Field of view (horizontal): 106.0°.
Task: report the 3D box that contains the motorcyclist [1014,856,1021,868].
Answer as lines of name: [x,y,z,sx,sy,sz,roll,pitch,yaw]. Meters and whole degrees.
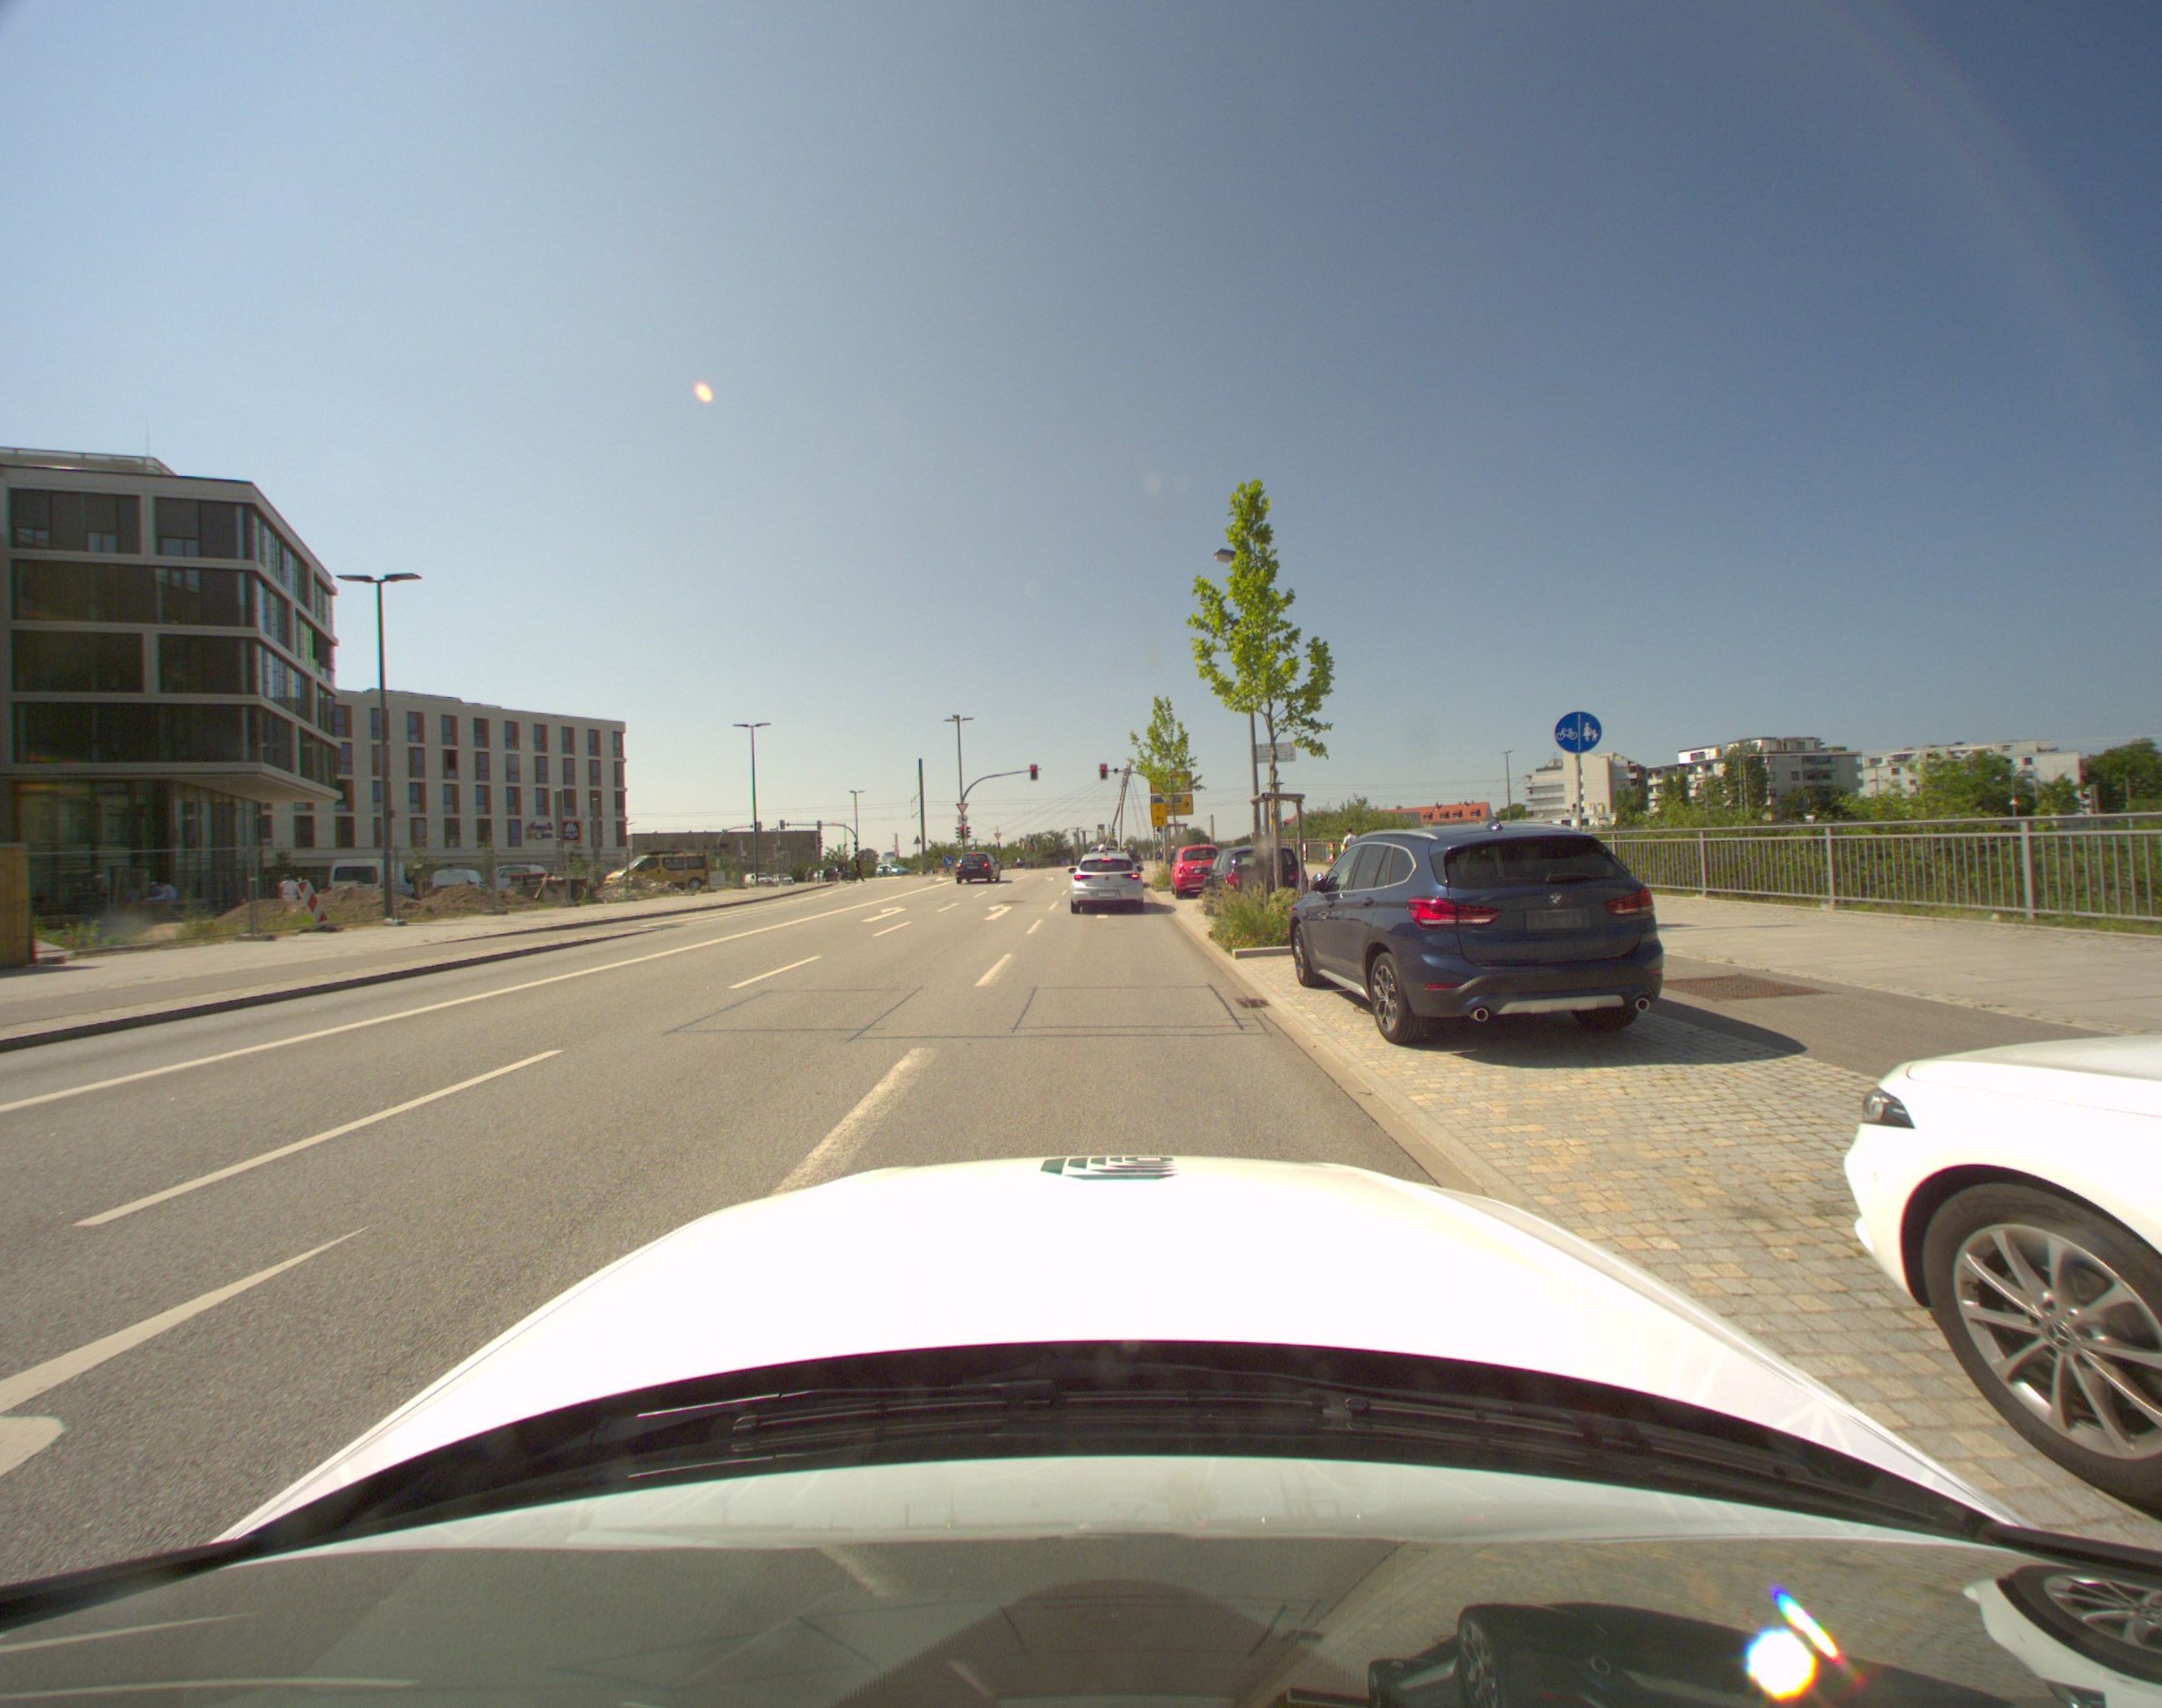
motorcyclist: [-7.725,1.008,98.782,0.806,1.476,0.885,0,-1,2]

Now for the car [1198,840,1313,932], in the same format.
car: [3.438,0.559,16.630,1.575,1.555,3.548,-4,0,2]

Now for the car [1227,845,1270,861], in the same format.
car: [18.908,-0.123,91.896,4.253,1.673,1.990,-1,0,-15]

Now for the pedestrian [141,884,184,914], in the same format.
pedestrian: [-42.659,2.074,37.829,0.737,1.372,1.121,-1,-1,15]

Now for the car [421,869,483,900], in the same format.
car: [-32.883,1.556,42.680,1.809,1.508,3.965,0,-1,-26]

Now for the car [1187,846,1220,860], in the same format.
car: [14.101,-0.111,93.927,3.388,1.655,1.638,0,-1,-17]

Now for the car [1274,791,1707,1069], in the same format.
car: [3.148,0.507,7.400,1.797,1.683,4.272,-4,-1,2]

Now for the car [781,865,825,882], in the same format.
car: [-28.885,2.033,84.558,3.946,1.551,1.682,-3,-1,14]

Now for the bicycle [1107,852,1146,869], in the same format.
bicycle: [2.986,0.417,53.206,2.494,1.007,0.606,-1,0,2]

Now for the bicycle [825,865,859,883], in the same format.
bicycle: [-15.992,1.307,54.491,2.076,1.178,0.555,0,-1,-3]

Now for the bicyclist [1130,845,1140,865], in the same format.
bicyclist: [4.274,0.080,64.326,0.715,1.504,0.825,-1,-1,2]

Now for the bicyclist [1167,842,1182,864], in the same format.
bicyclist: [6.732,-0.070,58.687,0.813,1.569,0.953,-1,-1,23]

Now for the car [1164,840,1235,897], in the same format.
car: [3.566,0.430,25.122,1.663,1.540,3.918,-4,-1,2]

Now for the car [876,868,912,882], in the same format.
car: [-19.338,2.198,84.168,3.753,1.362,1.542,-2,1,39]

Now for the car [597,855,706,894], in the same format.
car: [-21.956,1.012,41.743,1.974,1.890,4.514,-1,-1,40]

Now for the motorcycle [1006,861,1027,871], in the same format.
motorcycle: [-7.846,1.479,98.791,2.527,1.233,0.648,0,-1,1]

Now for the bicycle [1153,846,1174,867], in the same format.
bicycle: [5.637,0.162,55.693,0.720,1.133,2.546,-5,2,20]

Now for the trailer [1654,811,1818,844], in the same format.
trailer: [69.166,-2.717,85.966,17.222,3.204,3.724,0,-1,-14]

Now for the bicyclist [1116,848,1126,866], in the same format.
bicyclist: [2.698,0.215,54.332,0.654,1.175,0.731,0,-1,3]

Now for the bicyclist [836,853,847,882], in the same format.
bicyclist: [-16.026,0.890,54.481,0.592,1.887,0.636,0,-1,-2]

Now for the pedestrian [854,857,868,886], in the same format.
pedestrian: [-14.308,1.152,52.938,0.739,1.863,0.752,0,-1,-5]

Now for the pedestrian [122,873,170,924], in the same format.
pedestrian: [-38.375,1.808,33.442,0.933,2.014,0.969,-1,-1,15]

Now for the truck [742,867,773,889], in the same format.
truck: [-39.906,2.948,100.424,2.011,2.540,4.651,-1,0,-44]

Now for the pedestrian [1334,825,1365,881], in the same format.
pedestrian: [8.863,-0.031,26.933,0.755,1.830,0.885,0,-1,2]

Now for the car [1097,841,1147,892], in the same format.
car: [1.418,0.433,28.933,1.629,1.674,3.746,0,-1,2]

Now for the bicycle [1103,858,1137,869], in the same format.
bicycle: [2.622,0.623,54.330,2.236,0.692,0.516,-1,0,3]

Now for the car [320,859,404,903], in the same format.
car: [-35.582,1.304,40.446,2.220,2.056,4.134,0,-1,-28]

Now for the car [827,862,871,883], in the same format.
car: [-23.758,1.879,83.313,3.720,1.581,1.823,-3,10,14]

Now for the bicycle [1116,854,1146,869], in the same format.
bicycle: [3.964,0.595,64.315,2.309,1.133,0.637,-1,0,2]

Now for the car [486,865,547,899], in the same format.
car: [-30.354,1.476,43.925,2.005,1.707,4.521,0,-1,-26]

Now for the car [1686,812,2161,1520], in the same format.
car: [2.963,0.591,0.704,1.700,1.373,4.272,-5,-1,2]

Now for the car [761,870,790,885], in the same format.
car: [-38.689,2.982,103.130,3.996,1.815,1.943,-1,0,45]

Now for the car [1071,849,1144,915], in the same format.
car: [0.699,0.666,21.311,1.684,1.520,4.272,-1,0,2]

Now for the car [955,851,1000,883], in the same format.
car: [-4.808,0.610,38.179,1.581,1.395,3.341,-2,-1,2]

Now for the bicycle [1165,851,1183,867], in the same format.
bicycle: [6.674,0.336,58.499,0.669,1.127,2.378,-1,-1,23]

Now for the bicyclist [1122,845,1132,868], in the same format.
bicyclist: [2.996,0.143,53.228,0.654,1.502,0.844,0,-1,3]

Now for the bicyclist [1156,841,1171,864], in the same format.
bicyclist: [5.644,-0.122,55.762,0.853,1.560,0.829,-1,-1,19]

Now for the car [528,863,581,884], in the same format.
car: [-52.601,1.913,81.425,3.989,2.014,1.992,0,-1,-12]
